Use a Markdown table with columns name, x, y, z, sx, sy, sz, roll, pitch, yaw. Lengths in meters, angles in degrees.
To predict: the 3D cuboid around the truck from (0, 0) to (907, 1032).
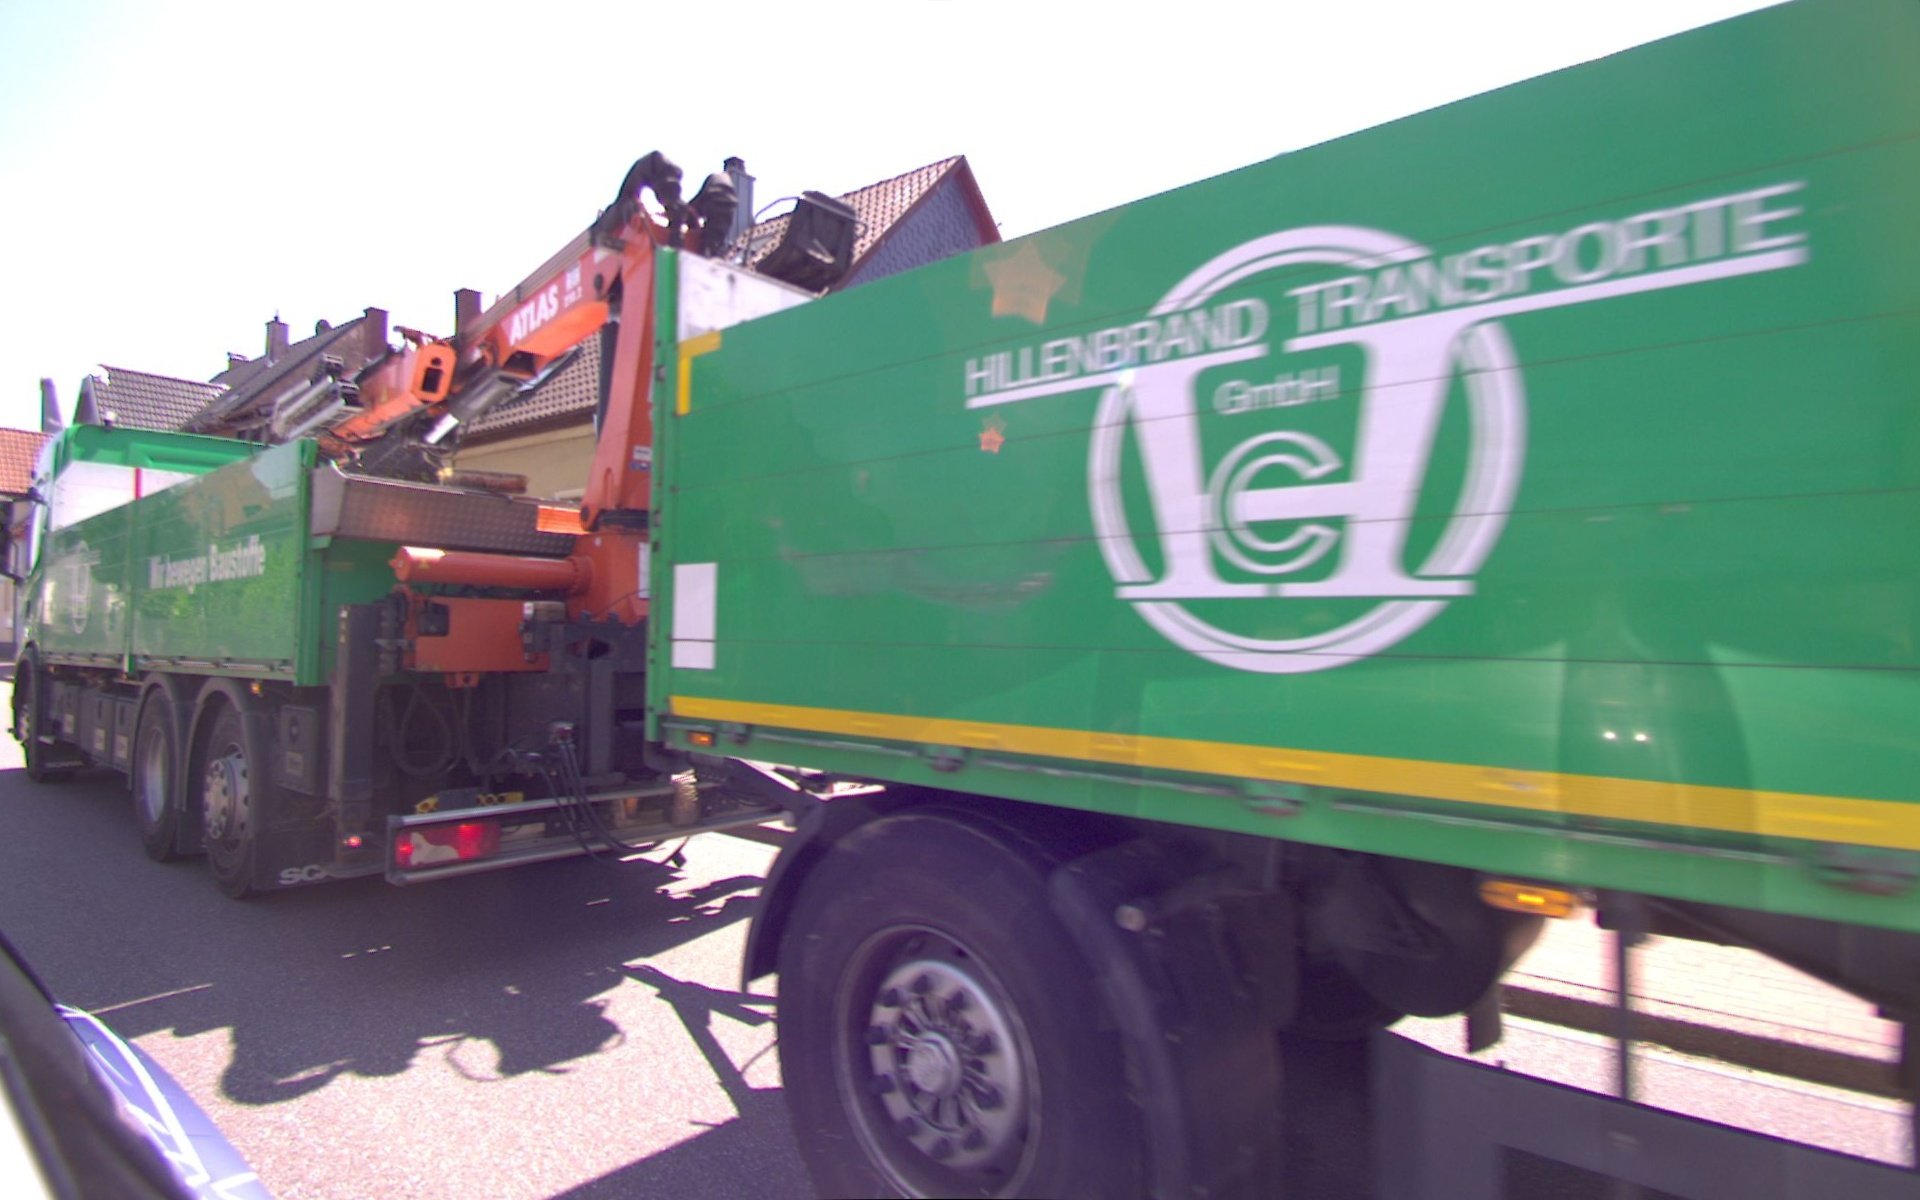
| name | x | y | z | sx | sy | sz | roll | pitch | yaw |
| --- | --- | --- | --- | --- | --- | --- | --- | --- | --- |
| truck | -4.951 | -0.239 | 7.805 | 10.070 | 3.729 | 2.541 | -1 | -3 | 40 |

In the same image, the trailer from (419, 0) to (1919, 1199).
| name | x | y | z | sx | sy | sz | roll | pitch | yaw |
| --- | --- | --- | --- | --- | --- | --- | --- | --- | --- |
| trailer | 2.260 | -0.389 | 1.593 | 8.455 | 3.677 | 2.504 | -1 | -3 | 40 |
